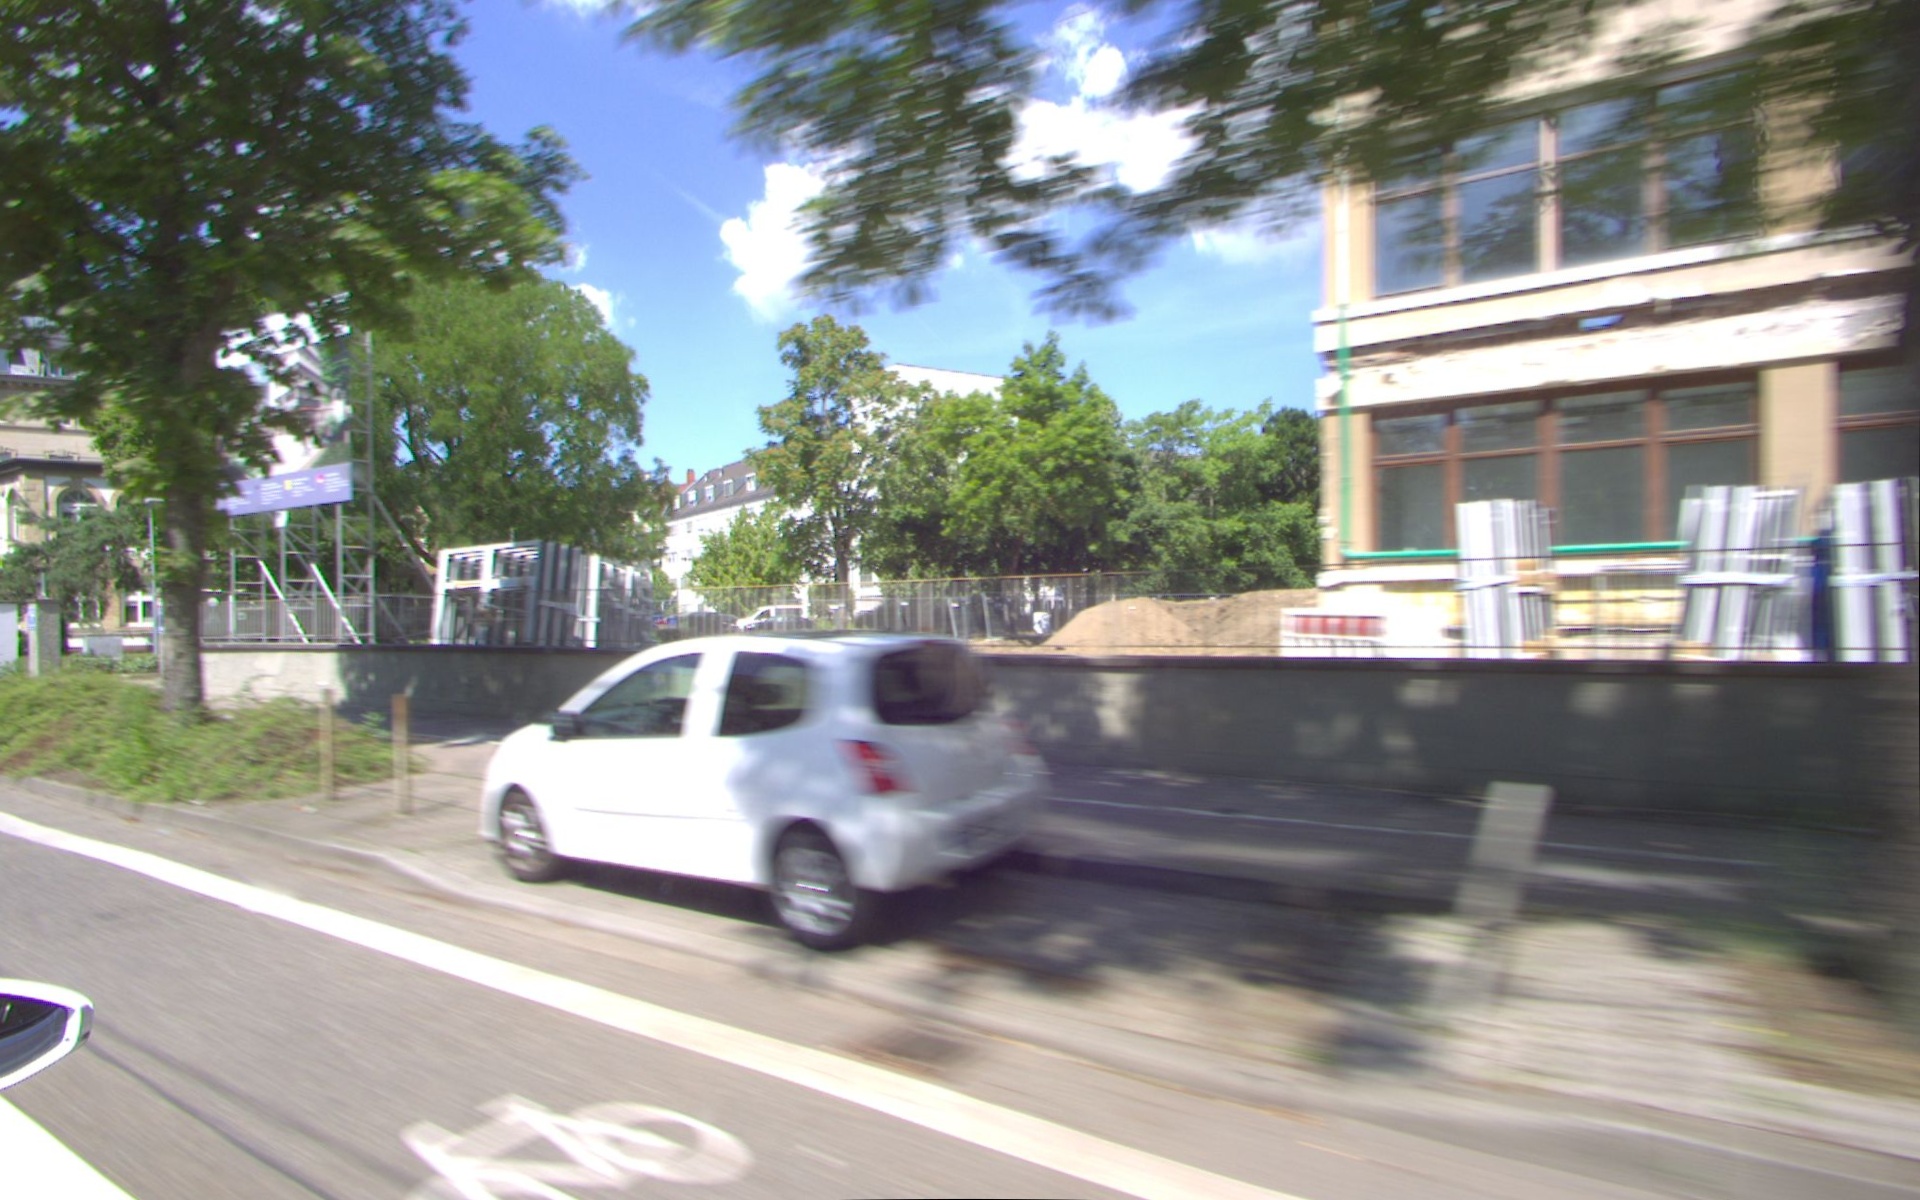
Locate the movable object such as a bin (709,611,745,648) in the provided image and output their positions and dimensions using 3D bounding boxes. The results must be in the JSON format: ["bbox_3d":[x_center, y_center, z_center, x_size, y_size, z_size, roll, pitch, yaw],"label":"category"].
[{"bbox_3d":[-9.721,1.218,41.832,1.382,1.482,1.388,-1,0,-9],"label":"movable object such as a bin"}]

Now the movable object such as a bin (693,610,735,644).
[{"bbox_3d":[-11.137,1.211,45.268,1.391,1.482,1.378,-1,0,-38],"label":"movable object such as a bin"}]

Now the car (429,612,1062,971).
[{"bbox_3d":[-1.412,0.854,6.069,3.732,1.554,1.640,0,0,34],"label":"car"}]

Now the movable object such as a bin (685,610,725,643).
[{"bbox_3d":[-11.842,1.203,46.503,1.391,1.482,1.379,-1,0,-36],"label":"movable object such as a bin"}]
